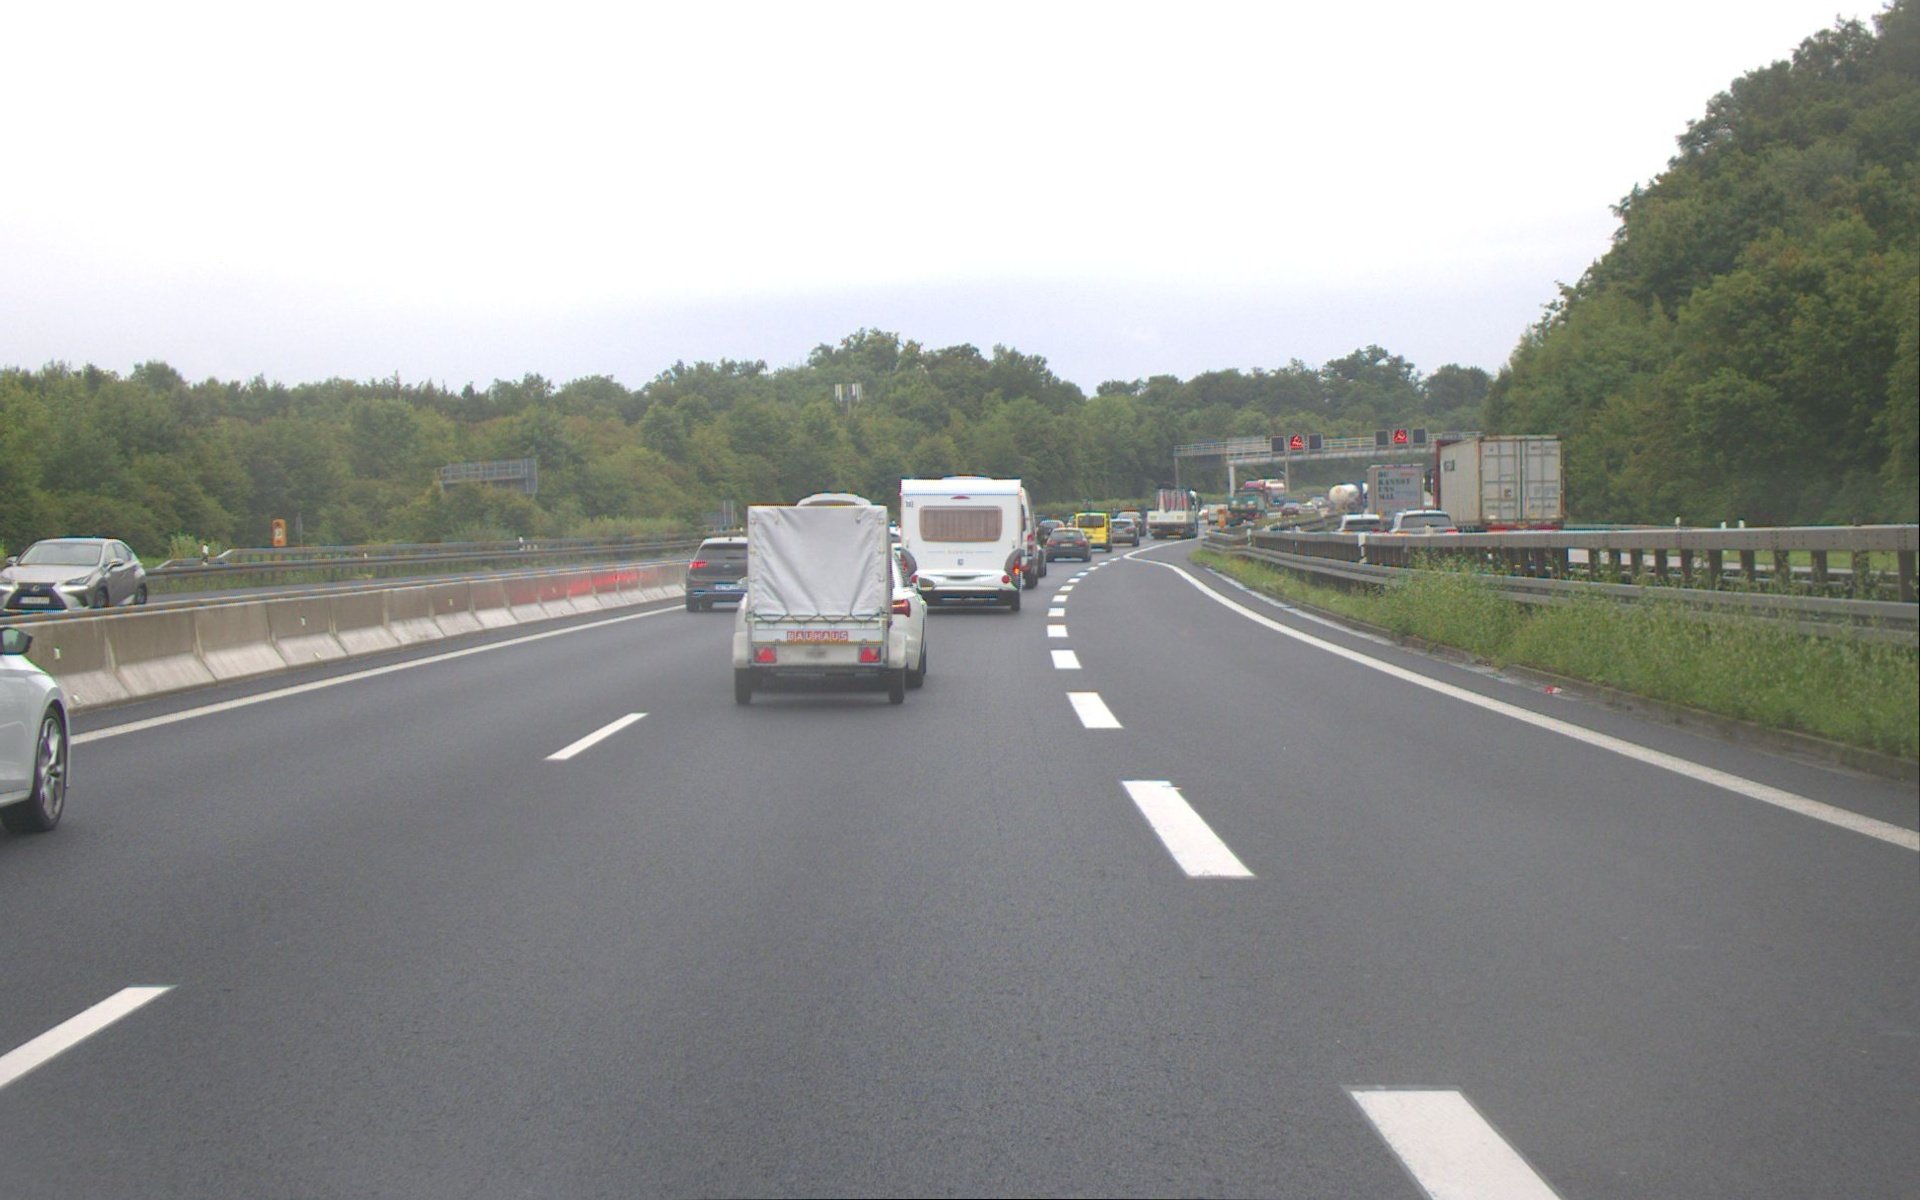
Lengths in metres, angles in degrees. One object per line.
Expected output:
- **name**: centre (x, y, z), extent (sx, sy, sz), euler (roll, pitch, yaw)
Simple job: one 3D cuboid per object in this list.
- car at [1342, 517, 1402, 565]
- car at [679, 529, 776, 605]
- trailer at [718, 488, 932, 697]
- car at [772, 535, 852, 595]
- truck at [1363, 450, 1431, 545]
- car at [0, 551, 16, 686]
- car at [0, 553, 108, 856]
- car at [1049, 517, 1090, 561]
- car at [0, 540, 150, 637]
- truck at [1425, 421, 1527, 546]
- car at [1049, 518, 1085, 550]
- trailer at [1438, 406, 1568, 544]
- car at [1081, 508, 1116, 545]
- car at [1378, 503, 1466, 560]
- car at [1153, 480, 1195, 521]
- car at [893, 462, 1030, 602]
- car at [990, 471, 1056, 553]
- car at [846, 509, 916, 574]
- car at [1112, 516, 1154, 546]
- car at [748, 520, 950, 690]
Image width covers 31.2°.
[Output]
- **car**: centre (14.203, -2.021, 118.707), extent (1.770, 1.604, 4.643), euler (-1, 1, 3)
- **car**: centre (-4.609, -0.667, 68.632), extent (1.676, 1.451, 4.000), euler (-1, 1, 0)
- **trailer**: centre (-1.199, -0.089, 32.152), extent (1.676, 1.806, 4.000), euler (-1, 1, 2)
- **car**: centre (-3.719, -0.892, 86.714), extent (1.765, 1.451, 4.000), euler (-1, 1, 1)
- **truck**: centre (22.571, -5.236, 178.021), extent (3.216, 4.650, 13.030), euler (-1, 1, 6)
- **car**: centre (-13.135, 0.261, 42.005), extent (1.993, 1.705, 4.303), euler (-1, 1, 0)
- **car**: centre (-5.519, 0.518, 16.242), extent (1.818, 1.451, 4.778), euler (-1, 1, -1)
- **car**: centre (4.565, -2.522, 143.188), extent (1.676, 1.806, 4.000), euler (-1, 1, 2)
- **car**: centre (-16.002, -0.226, 61.535), extent (1.891, 1.644, 4.603), euler (-1, 1, 0)
- **truck**: centre (16.755, -3.733, 111.978), extent (2.616, 3.871, 6.391), euler (-1, 1, 3)
- **car**: centre (6.820, -4.175, 218.575), extent (1.994, 2.007, 3.999), euler (-1, 1, 6)
- **trailer**: centre (16.485, -3.703, 105.097), extent (2.604, 3.881, 12.489), euler (-1, 1, 3)
- **car**: centre (6.946, -3.672, 171.950), extent (1.676, 1.806, 4.000), euler (-1, 1, 3)
- **car**: centre (11.948, -1.766, 89.144), extent (1.667, 1.378, 4.126), euler (-3, 1, 0)
- **car**: centre (14.265, -6.603, 228.672), extent (2.516, 2.566, 5.311), euler (-1, 1, 6)
- **car**: centre (0.050, -1.297, 66.922), extent (2.507, 2.576, 5.700), euler (-1, 1, 0)
- **car**: centre (1.673, -2.282, 90.213), extent (1.676, 2.060, 4.000), euler (-1, 1, 2)
- **car**: centre (-2.343, -1.748, 103.477), extent (1.993, 1.912, 4.000), euler (-1, 1, 0)
- **car**: centre (9.747, -3.881, 193.620), extent (2.038, 1.677, 3.999), euler (-1, 1, 7)
- **car**: centre (-1.082, 0.021, 35.657), extent (1.818, 1.610, 4.778), euler (-1, 1, 1)
